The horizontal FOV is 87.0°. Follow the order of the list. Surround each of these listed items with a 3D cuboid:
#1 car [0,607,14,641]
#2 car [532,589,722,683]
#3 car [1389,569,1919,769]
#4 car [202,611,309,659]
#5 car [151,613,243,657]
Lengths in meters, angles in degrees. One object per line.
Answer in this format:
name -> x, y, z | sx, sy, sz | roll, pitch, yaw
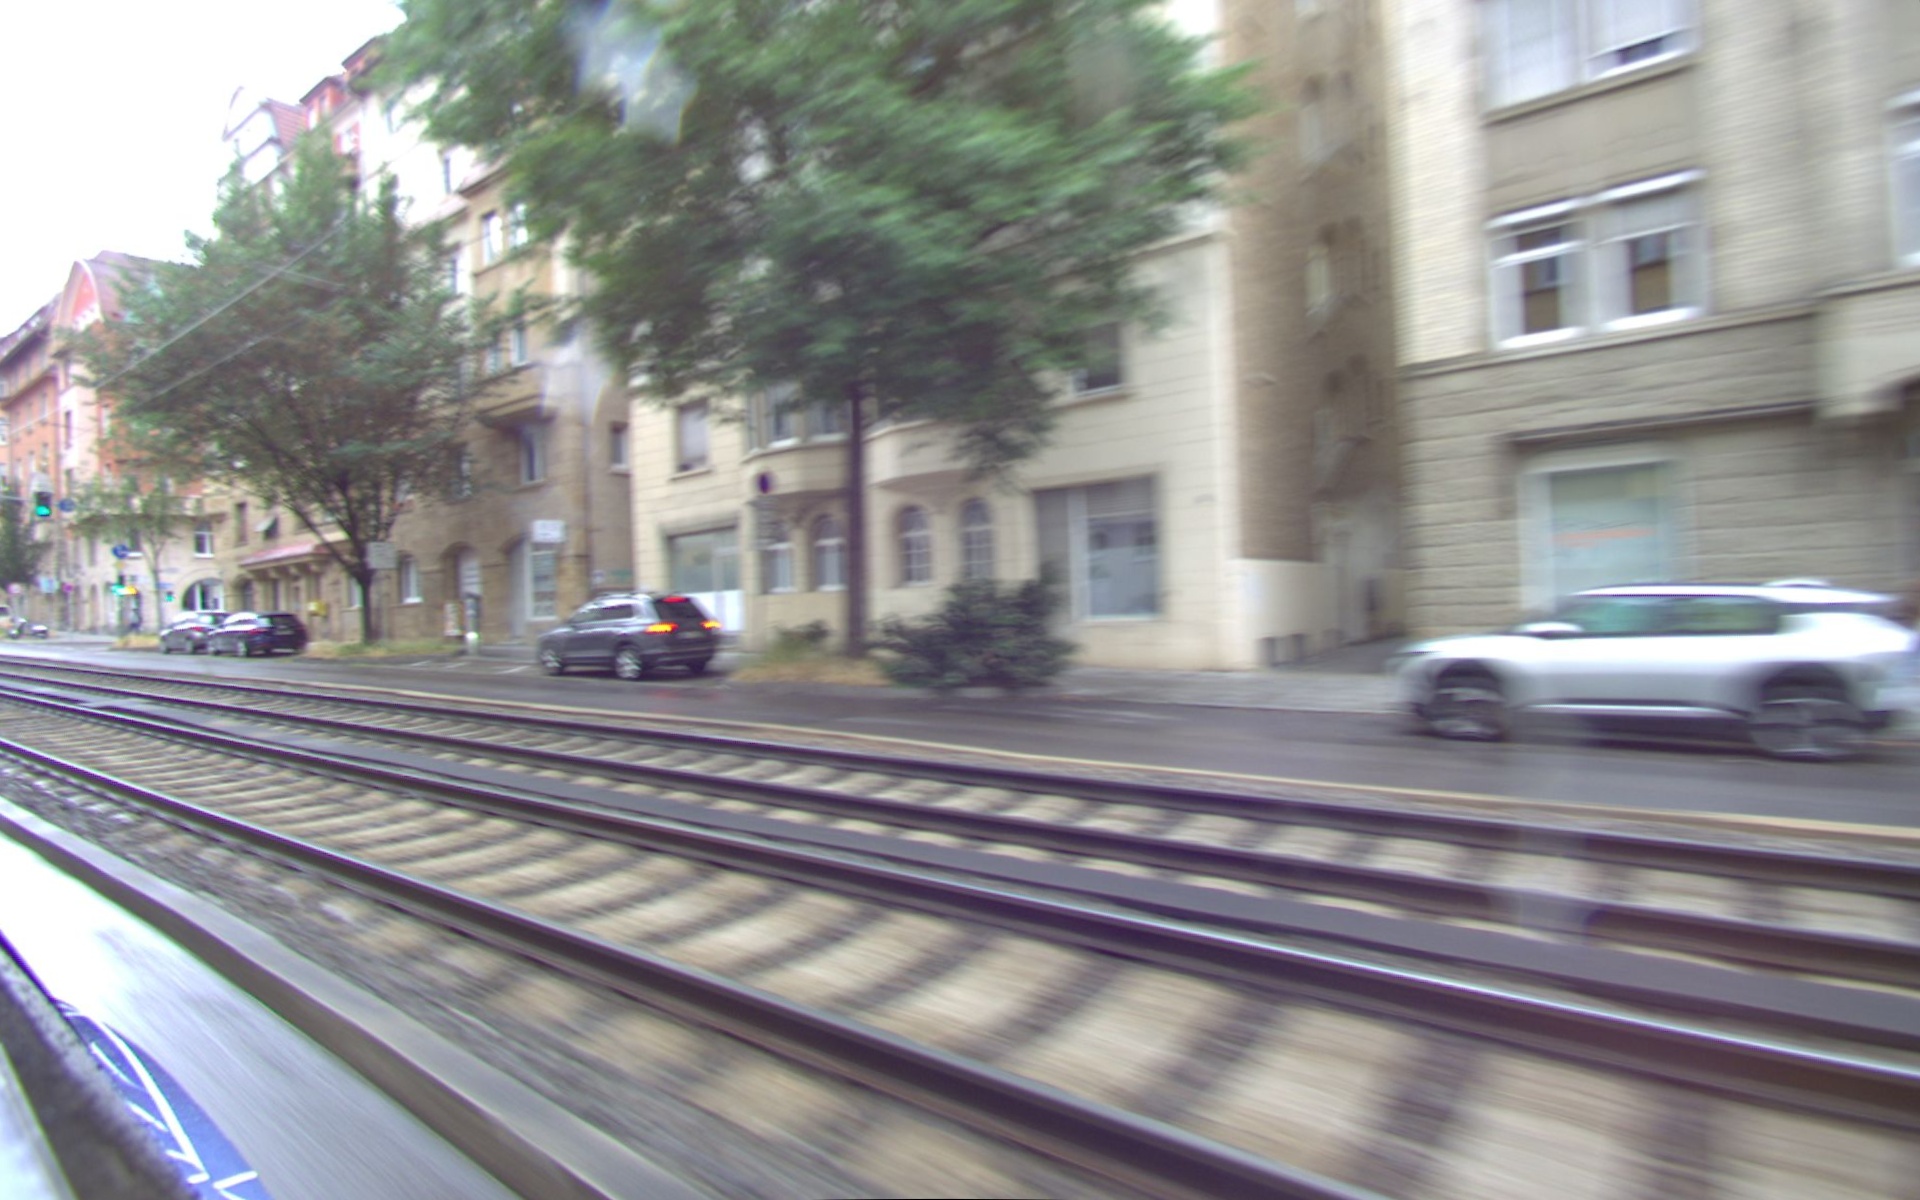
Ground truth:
car -> -58.232, 1.438, 60.408 | 3.994, 1.984, 1.975 | -1, 0, 38
car -> -6.799, 0.686, 20.494 | 4.092, 1.719, 1.629 | -1, -1, 37
car -> 6.701, 0.577, 9.899 | 4.334, 1.593, 1.628 | -1, -1, 39
car -> -23.162, 1.109, 33.225 | 4.159, 1.445, 1.698 | -1, 0, 37
car -> -27.882, 1.237, 36.928 | 4.159, 1.501, 1.629 | -1, -1, 37
